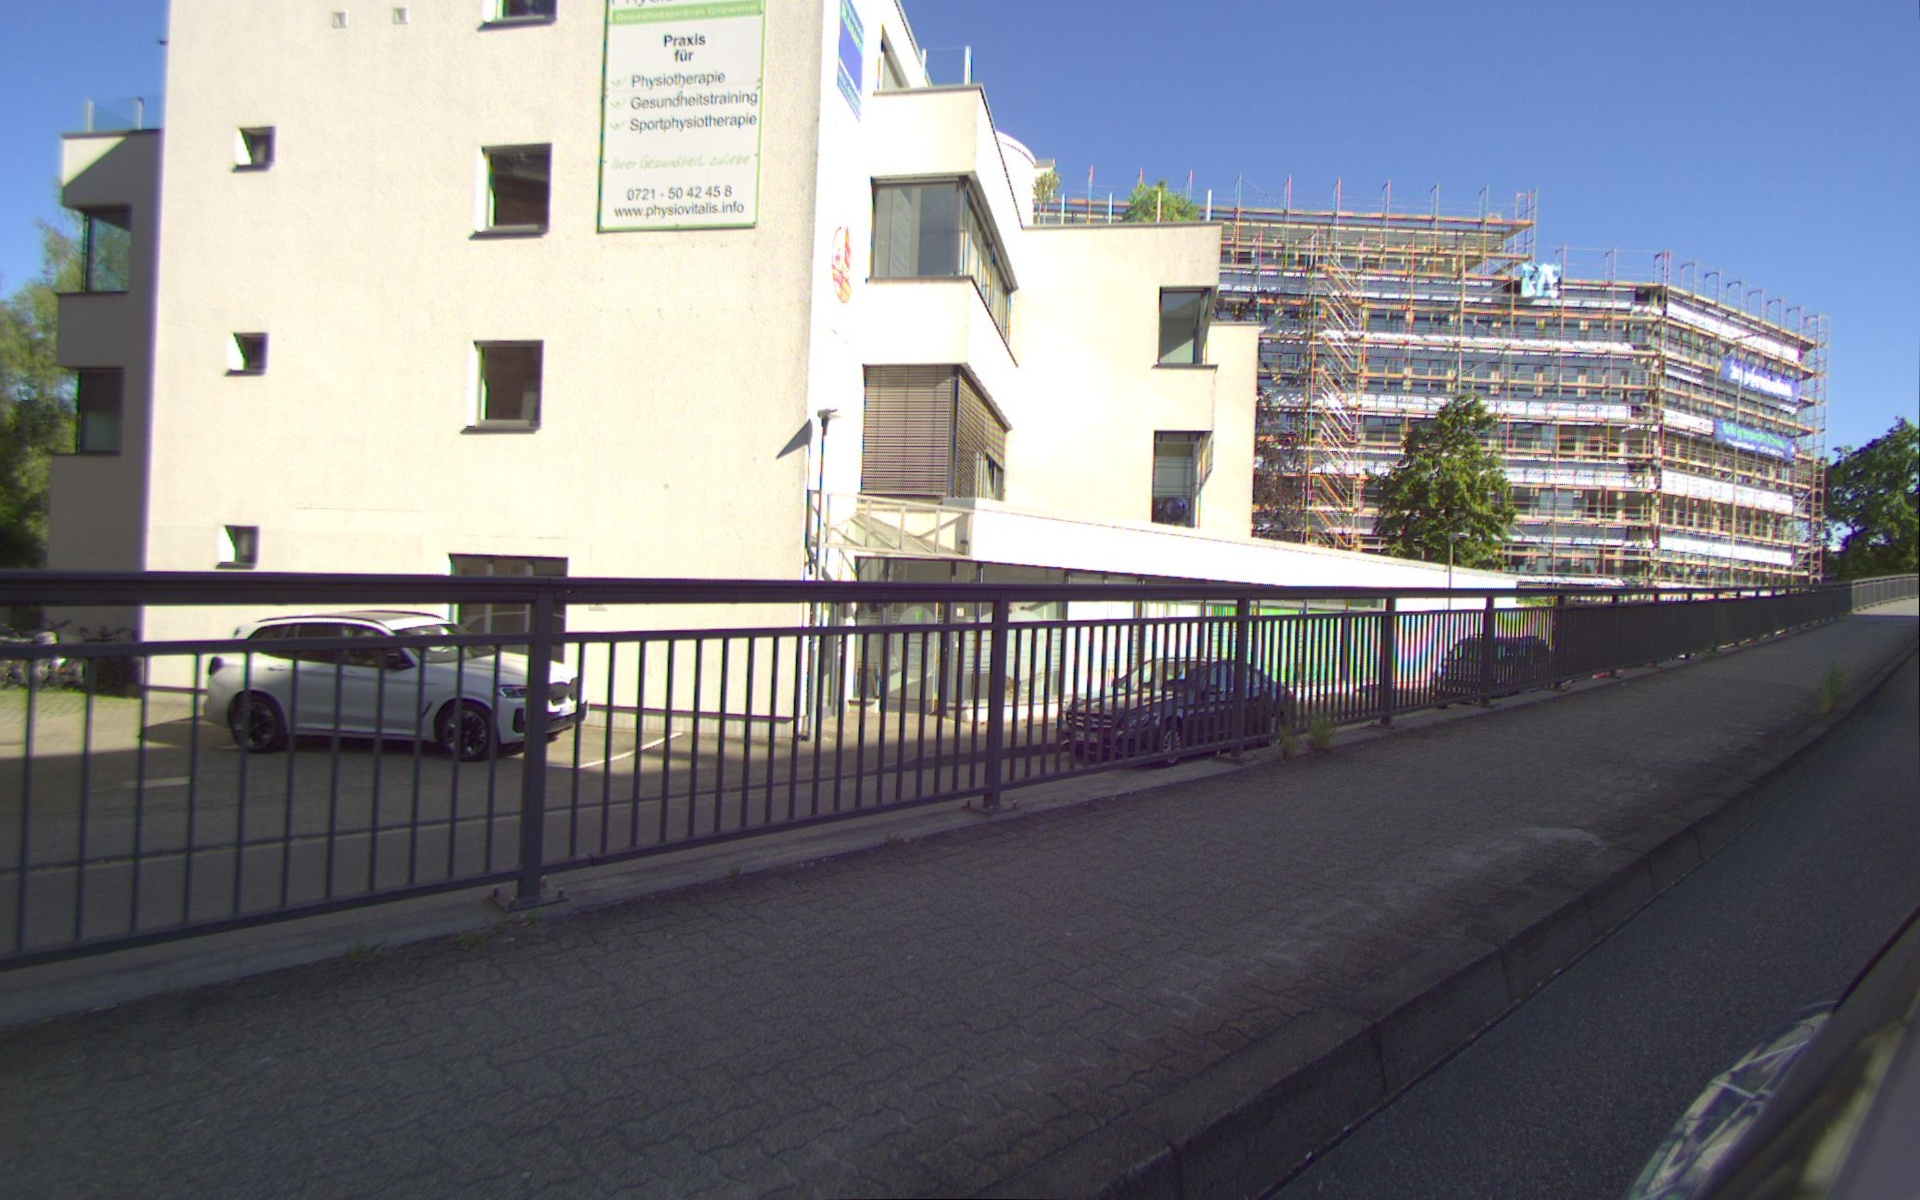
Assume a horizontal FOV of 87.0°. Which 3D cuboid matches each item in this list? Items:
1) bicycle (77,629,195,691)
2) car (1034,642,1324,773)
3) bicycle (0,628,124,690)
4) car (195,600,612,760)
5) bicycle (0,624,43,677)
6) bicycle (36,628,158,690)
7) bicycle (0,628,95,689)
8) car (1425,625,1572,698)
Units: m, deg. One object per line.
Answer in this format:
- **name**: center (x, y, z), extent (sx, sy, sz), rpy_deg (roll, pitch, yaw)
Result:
- **bicycle**: center (-14.881, 1.051, 18.352), extent (0.485, 0.897, 2.053), rpy_deg (2, 3, -1)
- **car**: center (3.412, 1.480, 15.238), extent (4.599, 1.448, 1.848), rpy_deg (0, 1, -40)
- **bicycle**: center (-16.279, 1.051, 18.399), extent (0.485, 0.897, 2.053), rpy_deg (2, 3, -1)
- **car**: center (-7.024, 0.928, 12.967), extent (4.573, 1.789, 1.823), rpy_deg (0, 1, 9)
- **bicycle**: center (-17.920, 0.972, 18.484), extent (0.485, 0.897, 2.053), rpy_deg (2, 3, -1)
- **bicycle**: center (-15.642, 1.039, 18.423), extent (0.485, 0.897, 2.053), rpy_deg (2, 3, -1)
- **bicycle**: center (-16.843, 1.041, 18.400), extent (0.485, 0.897, 2.053), rpy_deg (2, 3, -1)
- **car**: center (13.262, 1.451, 24.841), extent (3.929, 1.554, 1.848), rpy_deg (2, 1, -41)
